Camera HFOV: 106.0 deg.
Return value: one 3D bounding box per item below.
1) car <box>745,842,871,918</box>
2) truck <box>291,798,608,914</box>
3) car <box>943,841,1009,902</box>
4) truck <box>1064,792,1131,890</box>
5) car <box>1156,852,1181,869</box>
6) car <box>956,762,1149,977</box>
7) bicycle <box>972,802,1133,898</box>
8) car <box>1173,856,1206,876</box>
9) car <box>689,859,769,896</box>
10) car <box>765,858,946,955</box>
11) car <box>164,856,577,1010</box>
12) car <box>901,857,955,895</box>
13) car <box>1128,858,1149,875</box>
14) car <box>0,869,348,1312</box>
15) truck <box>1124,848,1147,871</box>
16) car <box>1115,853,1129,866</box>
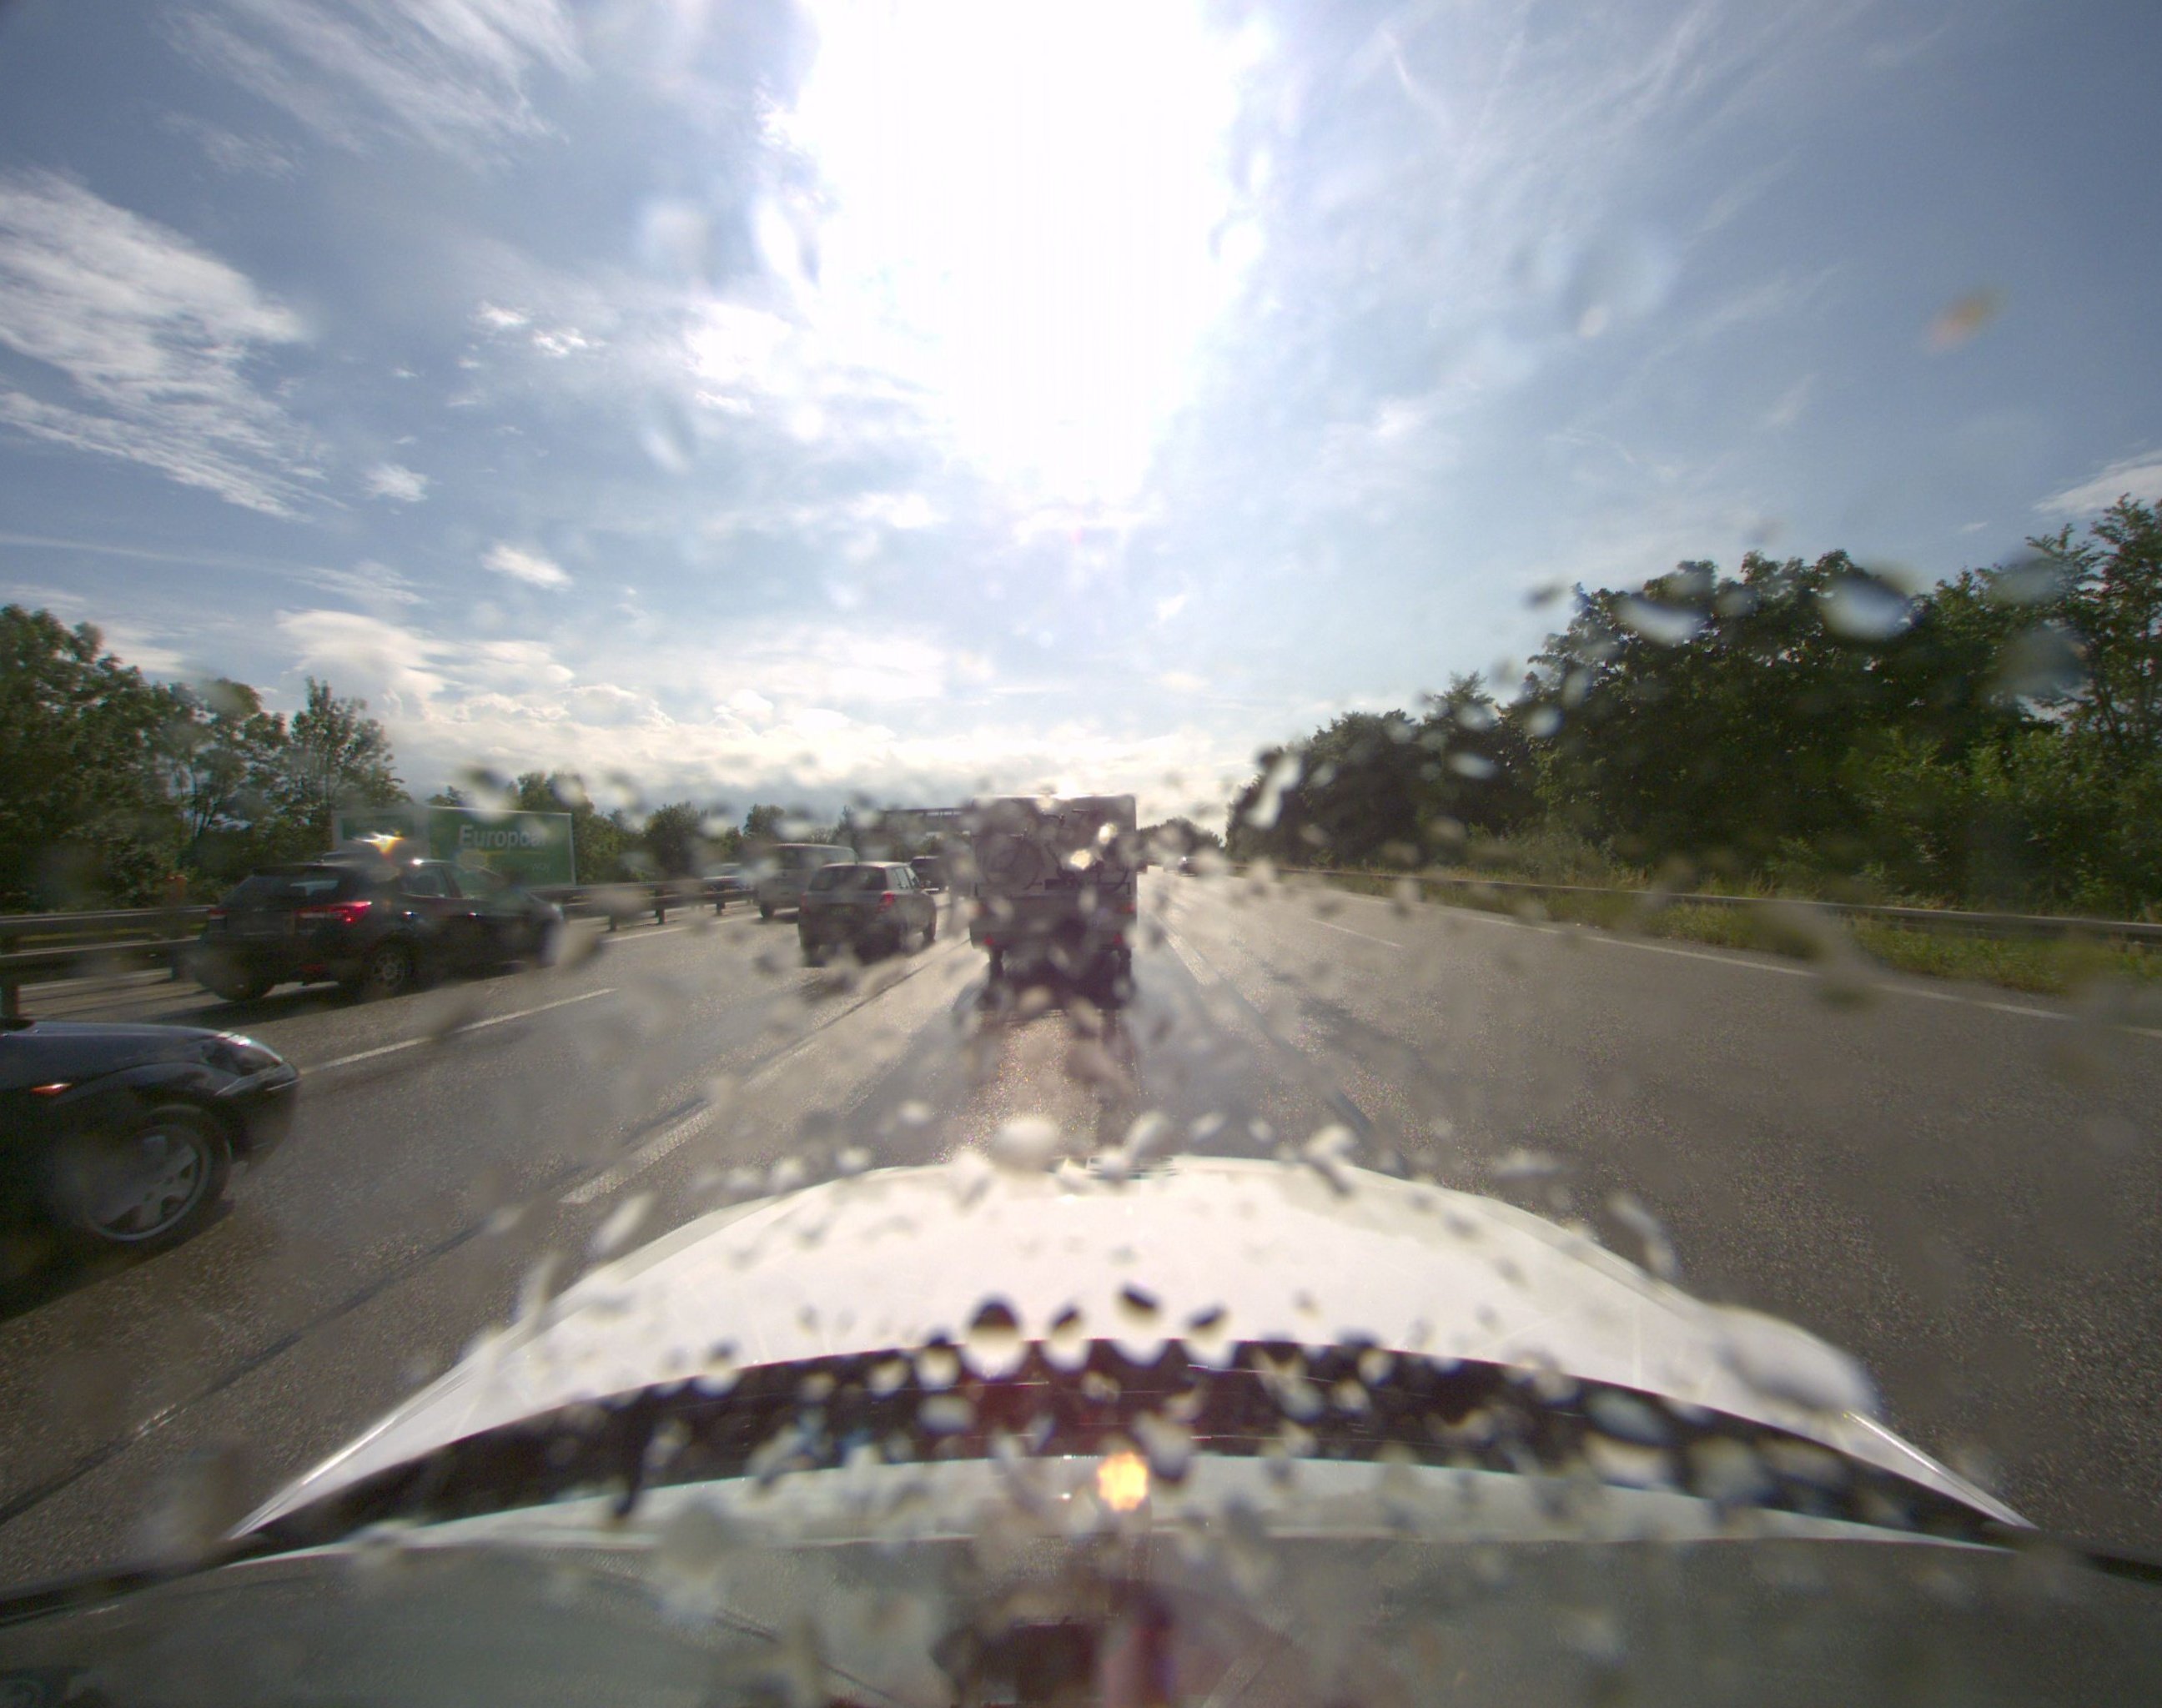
[{"bbox_3d":[-7.677,0.677,23.475,1.841,1.934,5.017,-1,0,1],"label":"car"},{"bbox_3d":[-18.829,0.082,25.390,2.905,2.987,8.724,0,-1,1],"label":"truck"},{"bbox_3d":[-3.655,0.597,29.002,1.871,2.014,3.998,0,-1,-1],"label":"car"},{"bbox_3d":[0.830,-0.597,43.967,3.135,4.626,10.735,-1,0,1],"label":"truck"},{"bbox_3d":[8.585,0.645,80.465,1.872,1.629,3.996,0,-1,-2],"label":"car"},{"bbox_3d":[-0.275,0.214,12.189,2.401,2.674,4.002,0,-1,2],"label":"car"},{"bbox_3d":[-0.336,-0.045,9.990,1.926,1.141,0.384,0,-1,1],"label":"bicycle"},{"bbox_3d":[8.450,0.923,63.849,1.872,1.494,3.996,0,-1,-2],"label":"car"},{"bbox_3d":[-15.191,0.985,35.361,1.692,1.486,3.999,-1,0,0],"label":"car"},{"bbox_3d":[-3.778,0.812,14.376,1.980,1.458,3.828,-1,0,2],"label":"car"},{"bbox_3d":[-8.622,0.833,10.446,1.776,1.578,3.917,-1,0,2],"label":"car"},{"bbox_3d":[-7.004,0.989,37.551,1.766,1.662,3.998,0,-1,-1],"label":"car"},{"bbox_3d":[5.234,1.120,74.930,1.828,1.558,4.002,0,-1,2],"label":"car"},{"bbox_3d":[-4.486,0.800,1.936,1.752,1.443,4.002,-1,0,2],"label":"car"},{"bbox_3d":[6.069,0.632,91.781,2.406,2.444,6.056,-1,0,2],"label":"truck"},{"bbox_3d":[5.486,0.762,109.229,1.713,1.684,4.002,-1,0,2],"label":"car"}]
